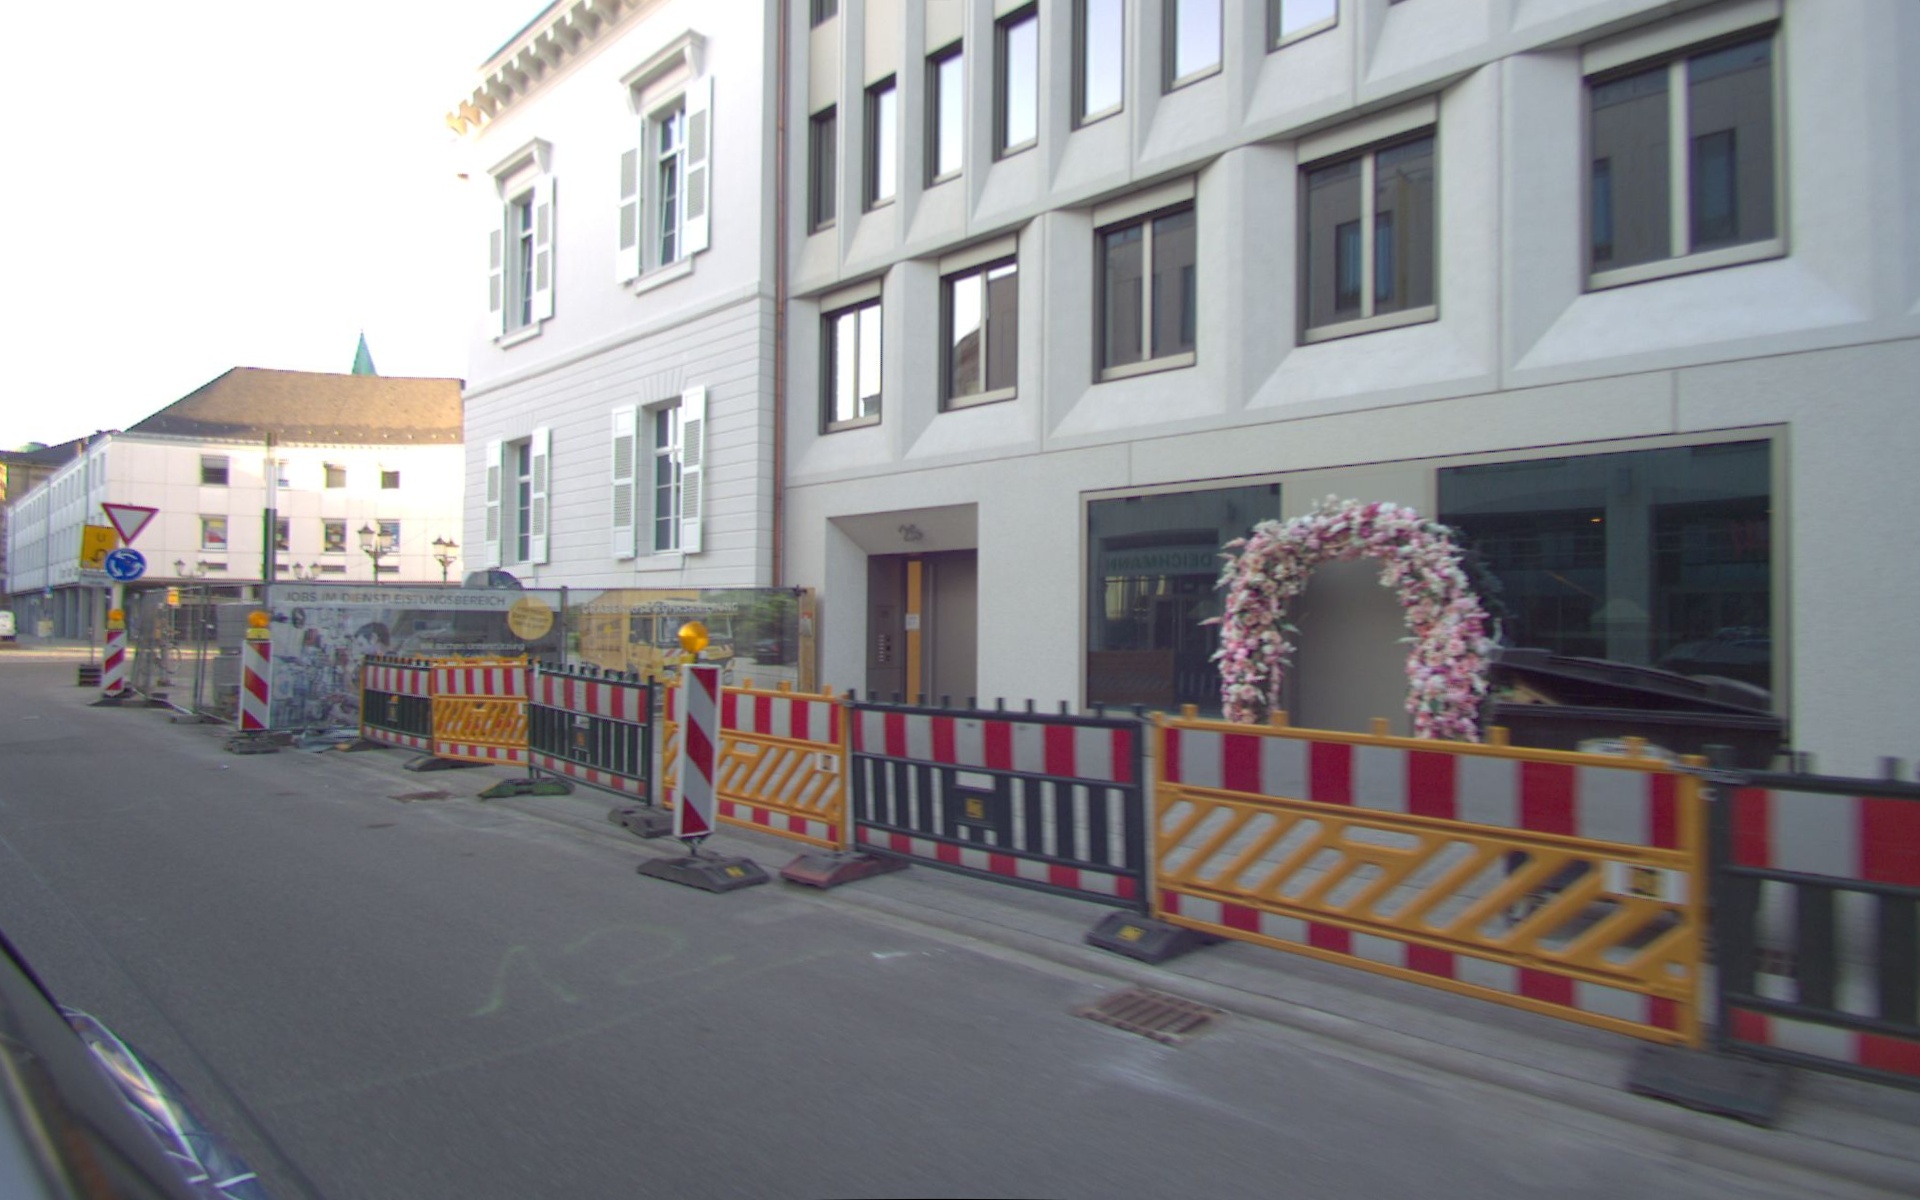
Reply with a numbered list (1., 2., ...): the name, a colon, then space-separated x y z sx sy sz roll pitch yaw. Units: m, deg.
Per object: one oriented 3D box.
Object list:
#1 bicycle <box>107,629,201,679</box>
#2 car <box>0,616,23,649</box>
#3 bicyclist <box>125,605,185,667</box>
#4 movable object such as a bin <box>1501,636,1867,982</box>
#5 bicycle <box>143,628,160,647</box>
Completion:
1. bicycle: -20.433 1.344 25.711 0.786 1.226 2.236 0 -2 -7
2. car: -55.514 1.821 57.820 4.450 1.839 1.997 -1 -2 36
3. bicyclist: -20.421 0.910 25.692 0.786 1.544 0.975 0 -2 -6
4. movable object such as a bin: 3.591 0.936 5.210 1.388 1.477 1.036 -1 -2 30
5. bicycle: -49.353 2.287 61.756 1.948 1.164 0.474 -1 -2 42
